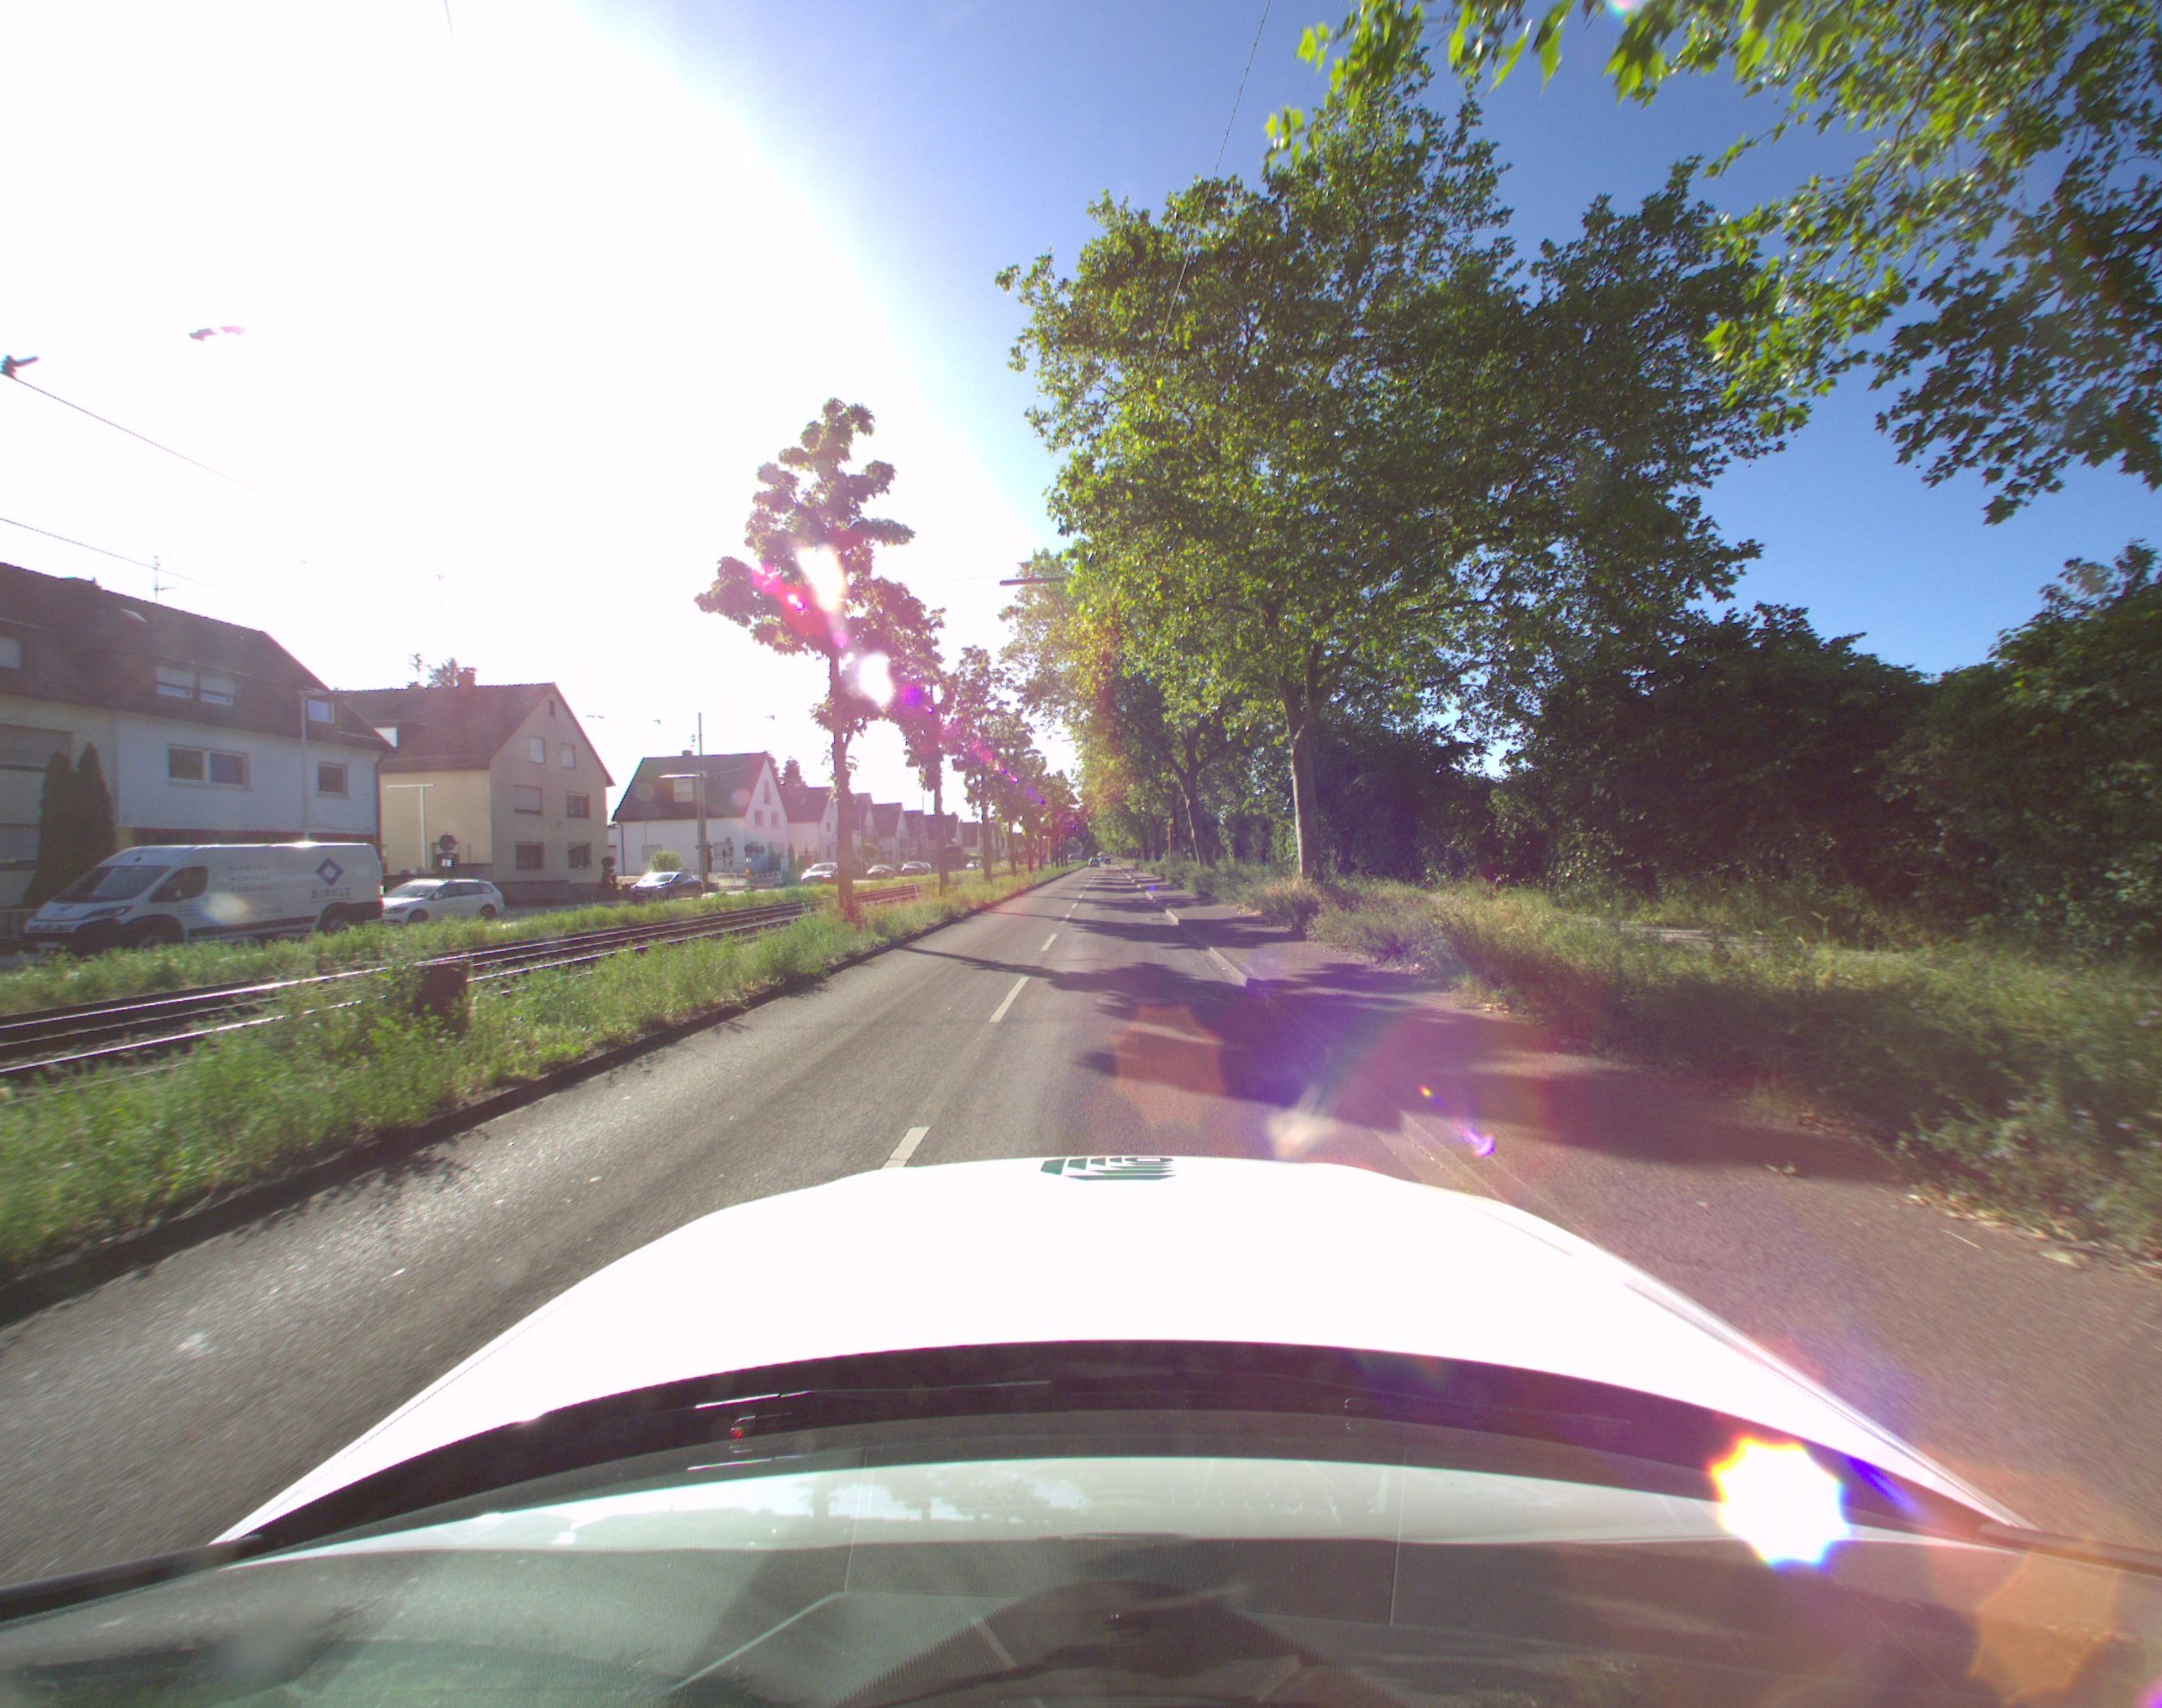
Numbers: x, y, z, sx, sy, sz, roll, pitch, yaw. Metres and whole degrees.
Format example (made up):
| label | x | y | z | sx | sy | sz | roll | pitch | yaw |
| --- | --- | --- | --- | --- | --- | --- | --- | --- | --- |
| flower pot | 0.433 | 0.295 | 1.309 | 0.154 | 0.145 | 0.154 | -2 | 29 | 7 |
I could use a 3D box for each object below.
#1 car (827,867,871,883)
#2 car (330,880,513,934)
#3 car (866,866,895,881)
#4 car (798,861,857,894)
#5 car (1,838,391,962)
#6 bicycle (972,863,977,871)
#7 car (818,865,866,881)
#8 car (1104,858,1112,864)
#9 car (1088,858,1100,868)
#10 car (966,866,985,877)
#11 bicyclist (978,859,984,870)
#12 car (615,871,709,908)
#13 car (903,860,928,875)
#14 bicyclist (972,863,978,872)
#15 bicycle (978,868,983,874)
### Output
| label | x | y | z | sx | sy | sz | roll | pitch | yaw |
| --- | --- | --- | --- | --- | --- | --- | --- | --- | --- |
| car | -24.107 | 2.169 | 84.679 | 3.977 | 1.669 | 1.998 | -1 | -1 | -2 |
| car | -20.352 | 1.575 | 25.461 | 1.818 | 1.412 | 4.659 | -1 | -1 | 1 |
| car | -18.863 | 1.822 | 76.860 | 1.487 | 1.326 | 4.003 | -1 | -1 | 3 |
| car | -15.157 | 1.384 | 48.879 | 1.908 | 1.883 | 4.527 | -1 | -1 | 3 |
| car | -20.571 | 0.966 | 19.668 | 1.986 | 2.459 | 6.676 | -1 | -1 | 1 |
| bicycle | -15.349 | 1.904 | 117.794 | 0.397 | 1.070 | 1.881 | -2 | 0 | 2 |
| car | -23.395 | 1.830 | 79.853 | 4.202 | 1.463 | 1.936 | -1 | -1 | -2 |
| car | 6.457 | 1.625 | 192.879 | 1.754 | 1.513 | 3.279 | -1 | -1 | 2 |
| car | 2.004 | 1.391 | 126.769 | 1.732 | 1.401 | 3.278 | -1 | -1 | 2 |
| car | -17.213 | 2.824 | 132.780 | 1.984 | 1.599 | 4.738 | -1 | -1 | 5 |
| bicyclist | -14.898 | 1.607 | 121.337 | 0.686 | 1.652 | 0.882 | -1 | -1 | 1 |
| car | -20.035 | 1.646 | 39.175 | 1.985 | 1.581 | 4.501 | -1 | 0 | 2 |
| car | -18.089 | 1.469 | 89.295 | 1.637 | 1.568 | 4.389 | -1 | -1 | 3 |
| bicyclist | -15.280 | 1.983 | 117.752 | 0.686 | 1.337 | 0.882 | -2 | -1 | 1 |
| bicycle | -14.976 | 2.508 | 121.151 | 0.397 | 0.927 | 2.097 | -1 | 0 | 2 |
